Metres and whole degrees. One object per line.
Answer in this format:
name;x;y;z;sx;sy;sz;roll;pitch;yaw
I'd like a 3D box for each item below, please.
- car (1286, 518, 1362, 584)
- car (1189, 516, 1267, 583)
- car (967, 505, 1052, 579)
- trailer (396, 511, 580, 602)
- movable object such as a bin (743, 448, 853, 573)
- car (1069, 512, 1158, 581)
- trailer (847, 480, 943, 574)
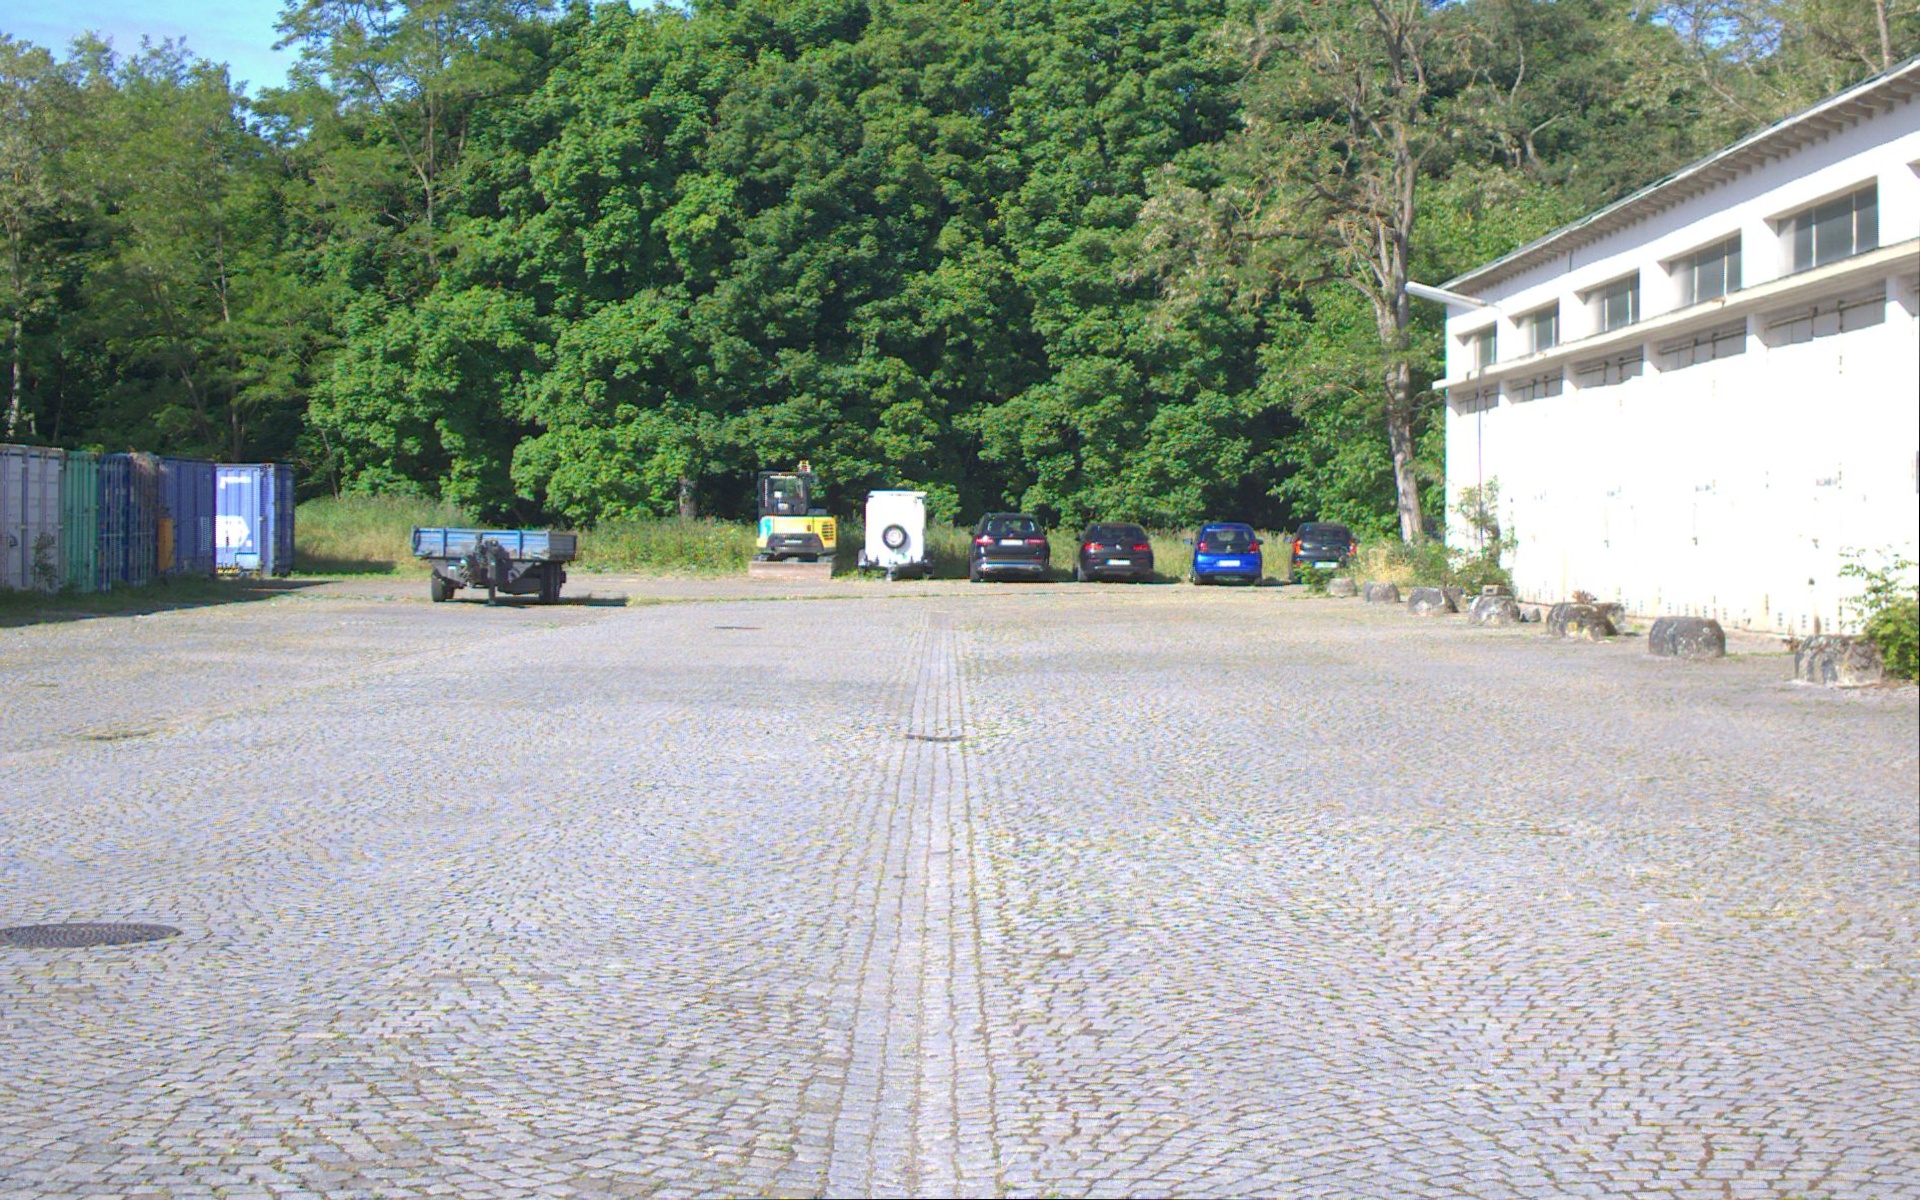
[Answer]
car;8.852;-1.204;83.358;1.744;1.431;4.182;2;3;7
car;6.406;-1.225;81.955;1.744;1.431;4.183;2;3;5
car;1.150;-1.404;81.661;1.863;1.583;4.296;2;3;-1
trailer;-8.696;-0.846;63.988;2.705;1.460;6.248;2;2;-2
movable object such as a bin;-3.942;-2.250;84.632;2.306;2.886;5.752;2;3;0
car;3.638;-1.298;82.024;1.863;1.465;4.296;2;3;-1
trailer;-1.563;-1.822;84.041;2.193;2.087;5.752;2;3;-1
